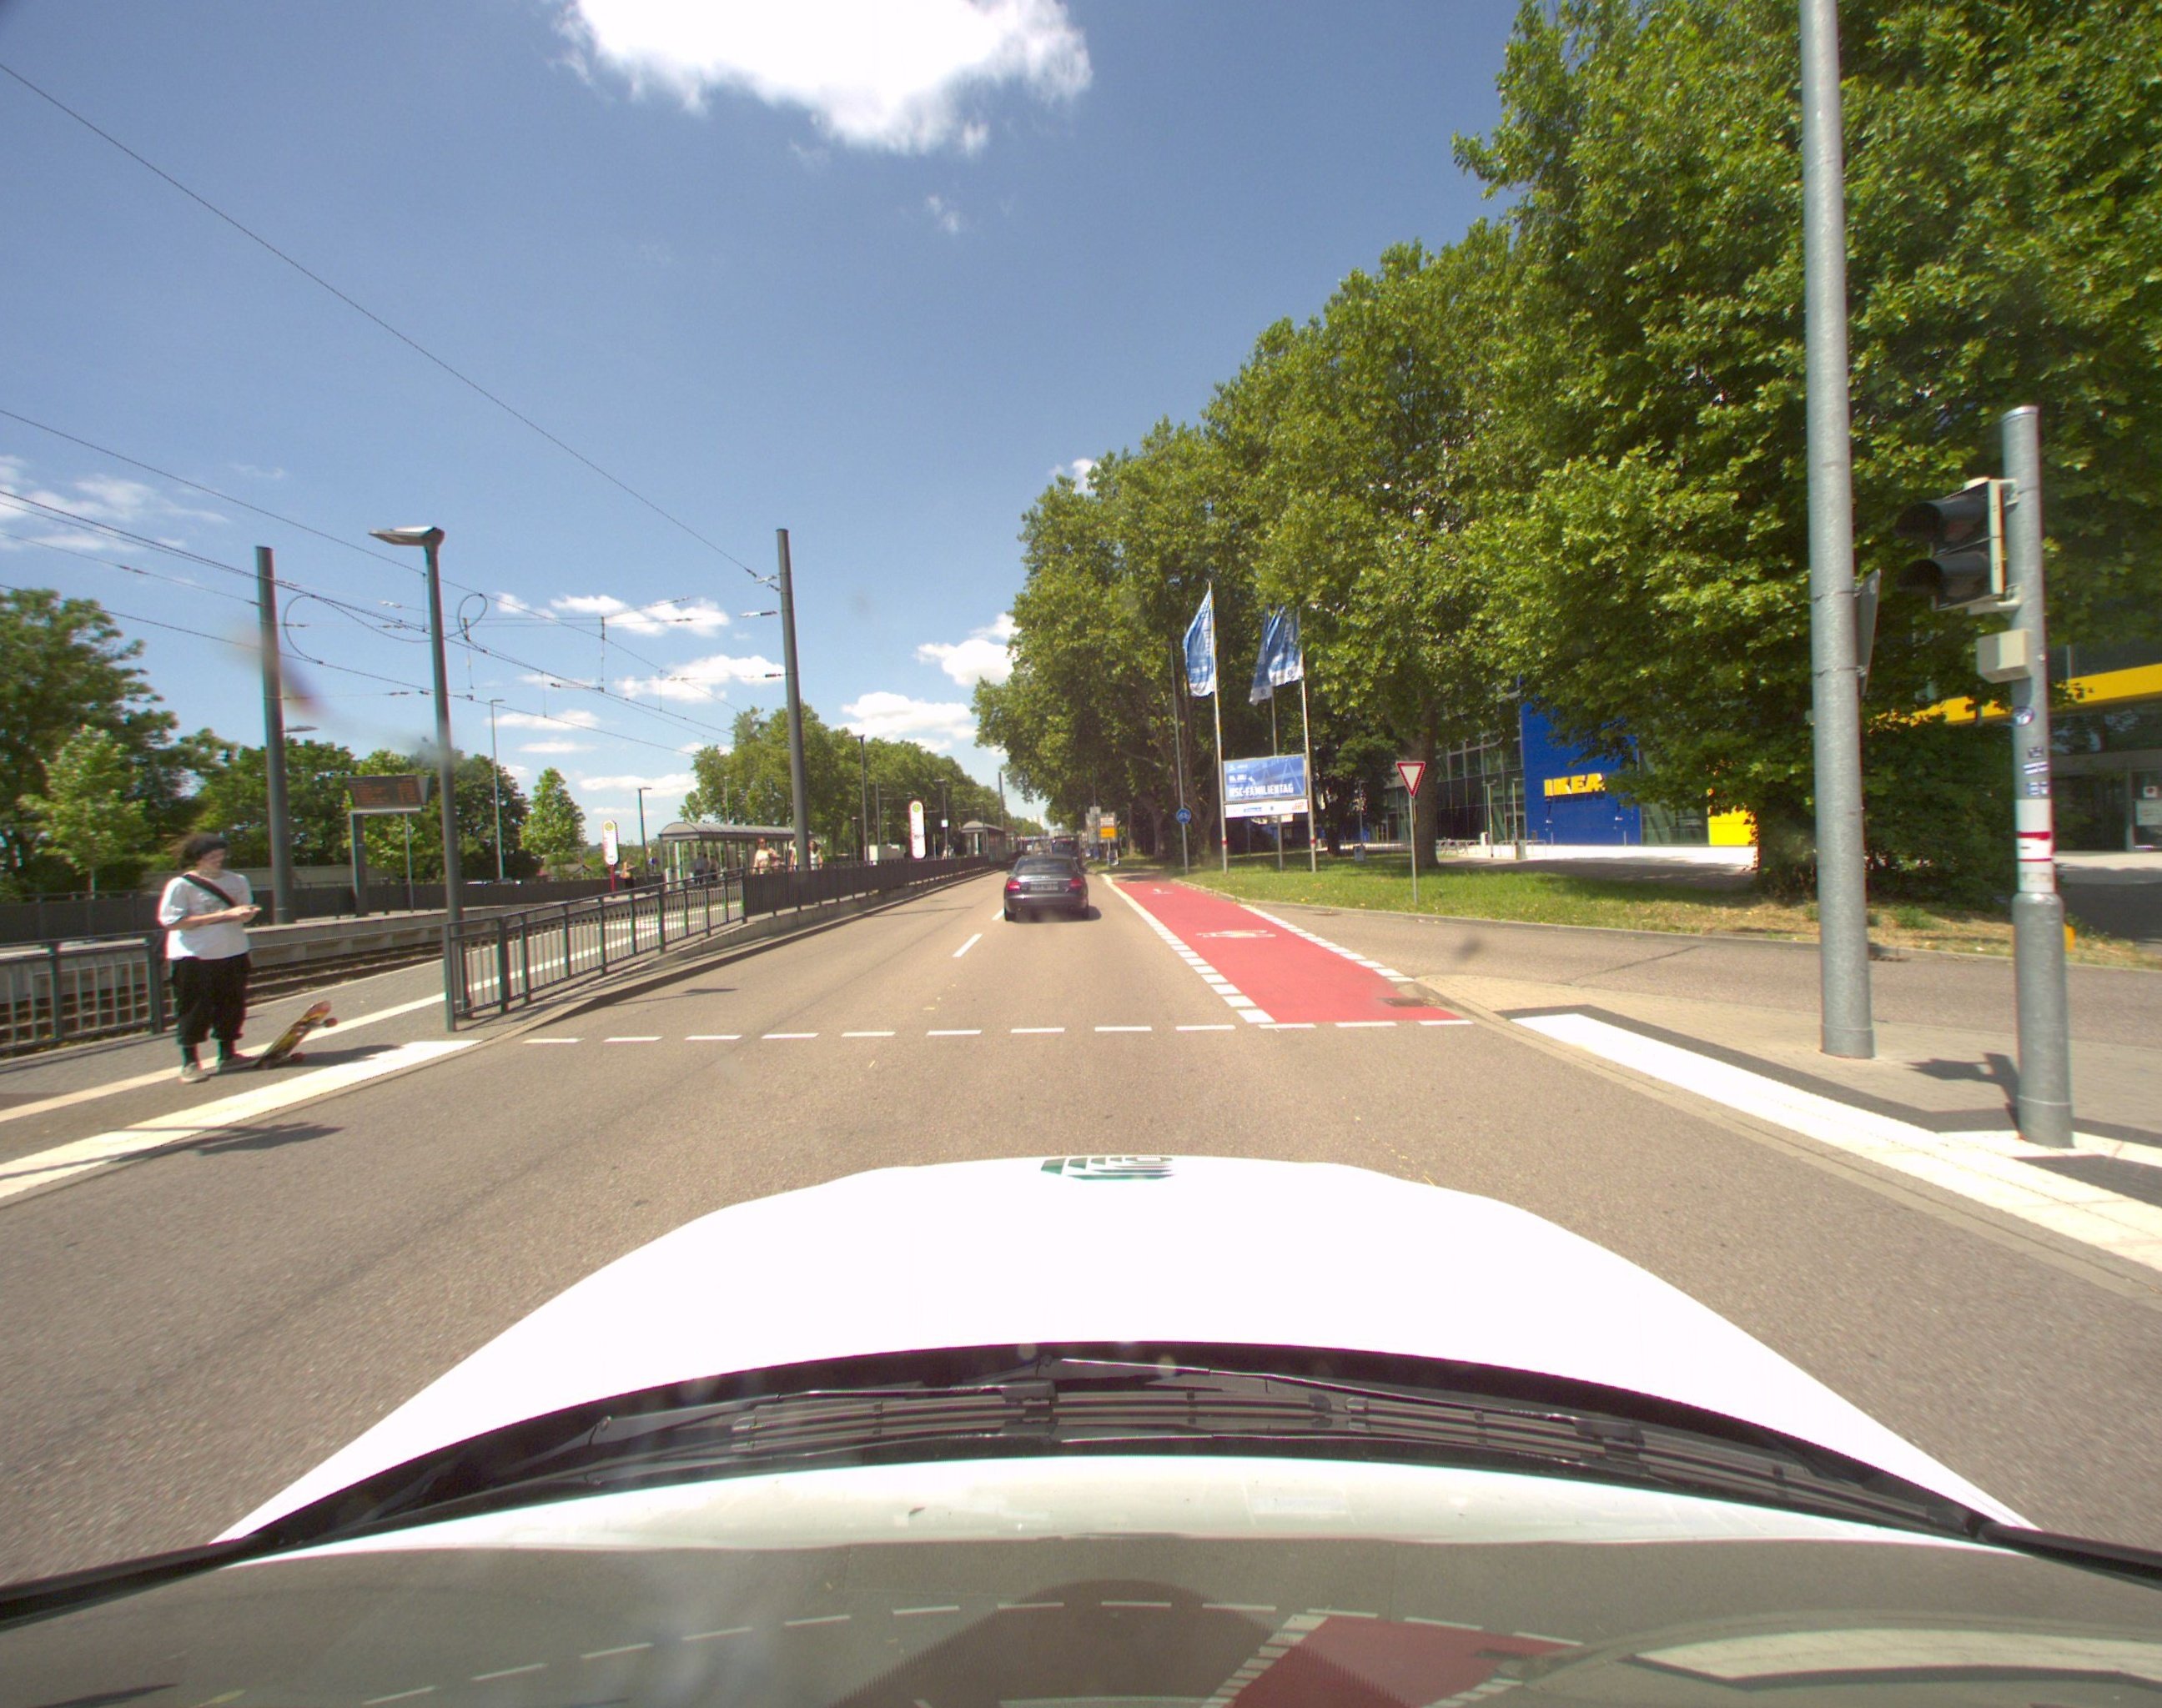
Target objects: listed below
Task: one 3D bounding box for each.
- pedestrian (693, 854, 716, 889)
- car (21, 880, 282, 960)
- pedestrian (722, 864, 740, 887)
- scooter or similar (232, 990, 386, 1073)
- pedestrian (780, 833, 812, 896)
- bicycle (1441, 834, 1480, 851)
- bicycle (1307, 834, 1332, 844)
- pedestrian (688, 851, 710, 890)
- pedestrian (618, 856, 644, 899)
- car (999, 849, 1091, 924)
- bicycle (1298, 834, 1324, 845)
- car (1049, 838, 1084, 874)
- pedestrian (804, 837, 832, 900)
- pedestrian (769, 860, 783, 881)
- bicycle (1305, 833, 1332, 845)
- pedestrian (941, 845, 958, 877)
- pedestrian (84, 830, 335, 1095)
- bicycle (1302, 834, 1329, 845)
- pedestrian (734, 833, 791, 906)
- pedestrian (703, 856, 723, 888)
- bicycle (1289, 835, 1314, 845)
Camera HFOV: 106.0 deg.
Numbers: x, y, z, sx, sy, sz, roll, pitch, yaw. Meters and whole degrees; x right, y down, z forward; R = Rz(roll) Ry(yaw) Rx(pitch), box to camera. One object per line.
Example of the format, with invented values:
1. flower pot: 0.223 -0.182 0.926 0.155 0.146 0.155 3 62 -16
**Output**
1. pedestrian: -18.029 0.820 38.998 0.817 1.638 0.582 -2 1 36
2. car: -23.382 1.593 20.769 1.987 1.629 4.000 -2 0 0
3. pedestrian: -17.897 1.091 41.653 0.574 1.094 0.639 -3 0 0
4. scooter or similar: -6.027 1.378 6.386 0.725 0.506 0.457 -2 1 -4
5. pedestrian: -7.906 0.287 22.597 0.612 1.681 0.719 -2 0 -3
6. bicycle: 23.743 -0.736 50.955 2.056 0.969 0.867 -3 0 -5
7. bicycle: 24.558 -1.531 83.775 2.312 0.960 0.757 -3 0 -6
8. pedestrian: -17.628 0.762 37.563 0.729 1.728 0.582 -2 1 36
9. pedestrian: -17.845 0.919 32.302 0.556 1.638 0.804 -2 0 -8
10. car: -0.797 0.653 18.664 1.838 1.484 3.997 -2 0 -2
11. bicycle: 24.540 -1.529 86.991 2.542 1.110 0.757 -3 0 -6
12. car: -0.795 0.104 48.230 1.842 1.959 4.145 -2 0 1
13. pedestrian: -6.843 0.370 21.196 0.496 1.577 0.556 -3 0 -2
14. pedestrian: -18.434 0.998 49.217 0.574 1.190 0.639 -3 0 0
15. bicycle: 24.763 -1.535 84.895 2.542 1.110 0.757 -3 0 -6
16. pedestrian: -6.946 0.379 43.187 0.730 1.665 0.742 -2 0 -2
17. pedestrian: -6.466 0.748 6.109 0.861 1.802 0.882 -2 0 -5
18. bicycle: 24.731 -1.534 85.941 2.542 1.110 0.757 -3 0 -6
19. pedestrian: -7.345 0.347 18.836 0.888 1.605 0.923 -2 1 -2
20. pedestrian: -17.962 0.873 39.770 0.574 1.533 0.639 -3 0 0
21. bicycle: 24.217 -1.519 89.513 2.542 0.970 0.757 -3 0 -6
